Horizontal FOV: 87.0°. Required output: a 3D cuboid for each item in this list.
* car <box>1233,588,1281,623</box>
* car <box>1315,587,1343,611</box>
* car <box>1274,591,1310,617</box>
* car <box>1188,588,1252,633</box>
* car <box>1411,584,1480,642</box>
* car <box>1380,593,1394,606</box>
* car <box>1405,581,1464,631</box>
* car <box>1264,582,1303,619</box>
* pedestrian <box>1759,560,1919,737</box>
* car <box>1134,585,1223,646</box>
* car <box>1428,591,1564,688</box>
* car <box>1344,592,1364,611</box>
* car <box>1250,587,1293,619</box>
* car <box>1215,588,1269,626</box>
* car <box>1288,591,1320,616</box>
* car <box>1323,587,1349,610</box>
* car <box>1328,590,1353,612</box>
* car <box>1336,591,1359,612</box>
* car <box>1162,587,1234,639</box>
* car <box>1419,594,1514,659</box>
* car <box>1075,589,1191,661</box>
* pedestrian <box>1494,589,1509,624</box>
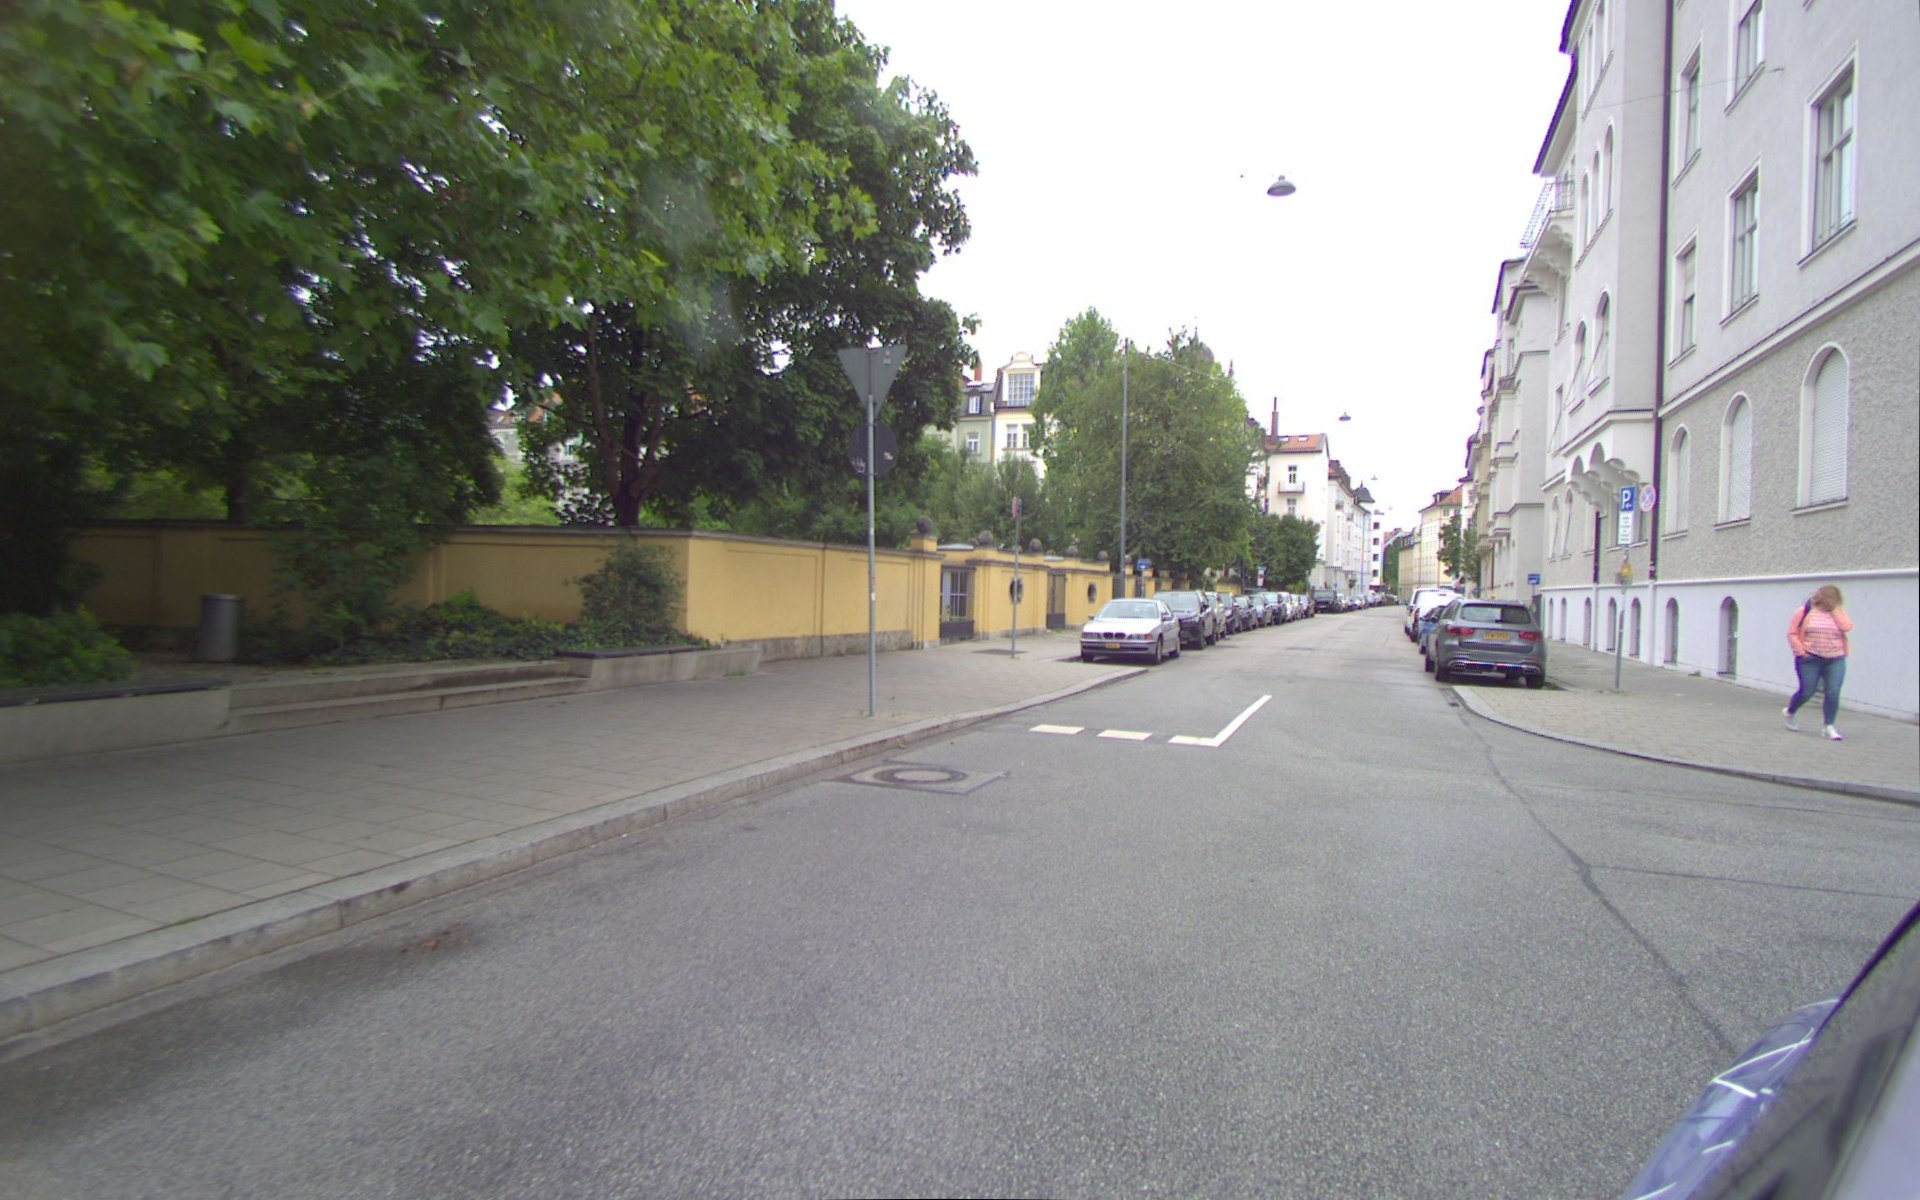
[{"bbox_3d":[13.789,0.214,46.891,1.754,1.462,4.037,2,1,21],"label":"car"},{"bbox_3d":[29.221,-0.119,80.058,1.756,1.825,4.309,2,1,24],"label":"car"},{"bbox_3d":[19.740,0.204,60.051,1.754,1.462,4.037,2,1,21],"label":"car"},{"bbox_3d":[9.926,0.350,38.391,1.804,1.549,4.372,2,1,21],"label":"car"},{"bbox_3d":[17.440,0.418,36.518,1.870,1.876,4.389,3,2,22],"label":"car"},{"bbox_3d":[63.062,-0.160,149.446,1.756,1.825,4.309,2,1,24],"label":"car"},{"bbox_3d":[19.757,0.210,42.301,1.870,1.907,4.389,3,1,22],"label":"car"},{"bbox_3d":[17.840,0.012,55.787,1.754,1.908,4.037,2,1,21],"label":"car"},{"bbox_3d":[10.105,0.511,11.687,1.202,1.896,1.079,2,1,31],"label":"pedestrian"},{"bbox_3d":[6.300,0.376,28.849,1.803,1.549,4.541,2,1,21],"label":"car"},{"bbox_3d":[10.640,0.678,20.379,1.870,1.636,4.389,3,2,22],"label":"car"},{"bbox_3d":[40.510,0.146,103.977,1.756,1.825,4.309,2,1,24],"label":"car"},{"bbox_3d":[15.668,0.129,50.818,1.754,1.462,4.037,2,1,21],"label":"car"},{"bbox_3d":[11.967,0.261,42.820,1.754,1.462,4.372,2,1,21],"label":"car"},{"bbox_3d":[22.019,0.218,64.676,1.754,1.462,4.037,2,1,21],"label":"car"},{"bbox_3d":[31.637,-0.150,85.123,1.756,1.825,4.309,2,1,24],"label":"car"},{"bbox_3d":[33.692,0.058,89.594,1.756,1.825,4.309,2,1,24],"label":"car"},{"bbox_3d":[36.056,0.095,94.108,1.756,1.825,4.309,2,1,24],"label":"car"},{"bbox_3d":[8.022,0.373,33.839,1.803,1.549,4.375,2,1,20],"label":"car"},{"bbox_3d":[13.625,0.641,27.440,1.870,1.482,4.389,3,2,22],"label":"car"},{"bbox_3d":[4.112,0.494,23.442,1.803,1.419,4.541,2,1,21],"label":"car"},{"bbox_3d":[31.735,0.356,59.318,0.703,2.039,0.703,1,0,25],"label":"pedestrian"}]
